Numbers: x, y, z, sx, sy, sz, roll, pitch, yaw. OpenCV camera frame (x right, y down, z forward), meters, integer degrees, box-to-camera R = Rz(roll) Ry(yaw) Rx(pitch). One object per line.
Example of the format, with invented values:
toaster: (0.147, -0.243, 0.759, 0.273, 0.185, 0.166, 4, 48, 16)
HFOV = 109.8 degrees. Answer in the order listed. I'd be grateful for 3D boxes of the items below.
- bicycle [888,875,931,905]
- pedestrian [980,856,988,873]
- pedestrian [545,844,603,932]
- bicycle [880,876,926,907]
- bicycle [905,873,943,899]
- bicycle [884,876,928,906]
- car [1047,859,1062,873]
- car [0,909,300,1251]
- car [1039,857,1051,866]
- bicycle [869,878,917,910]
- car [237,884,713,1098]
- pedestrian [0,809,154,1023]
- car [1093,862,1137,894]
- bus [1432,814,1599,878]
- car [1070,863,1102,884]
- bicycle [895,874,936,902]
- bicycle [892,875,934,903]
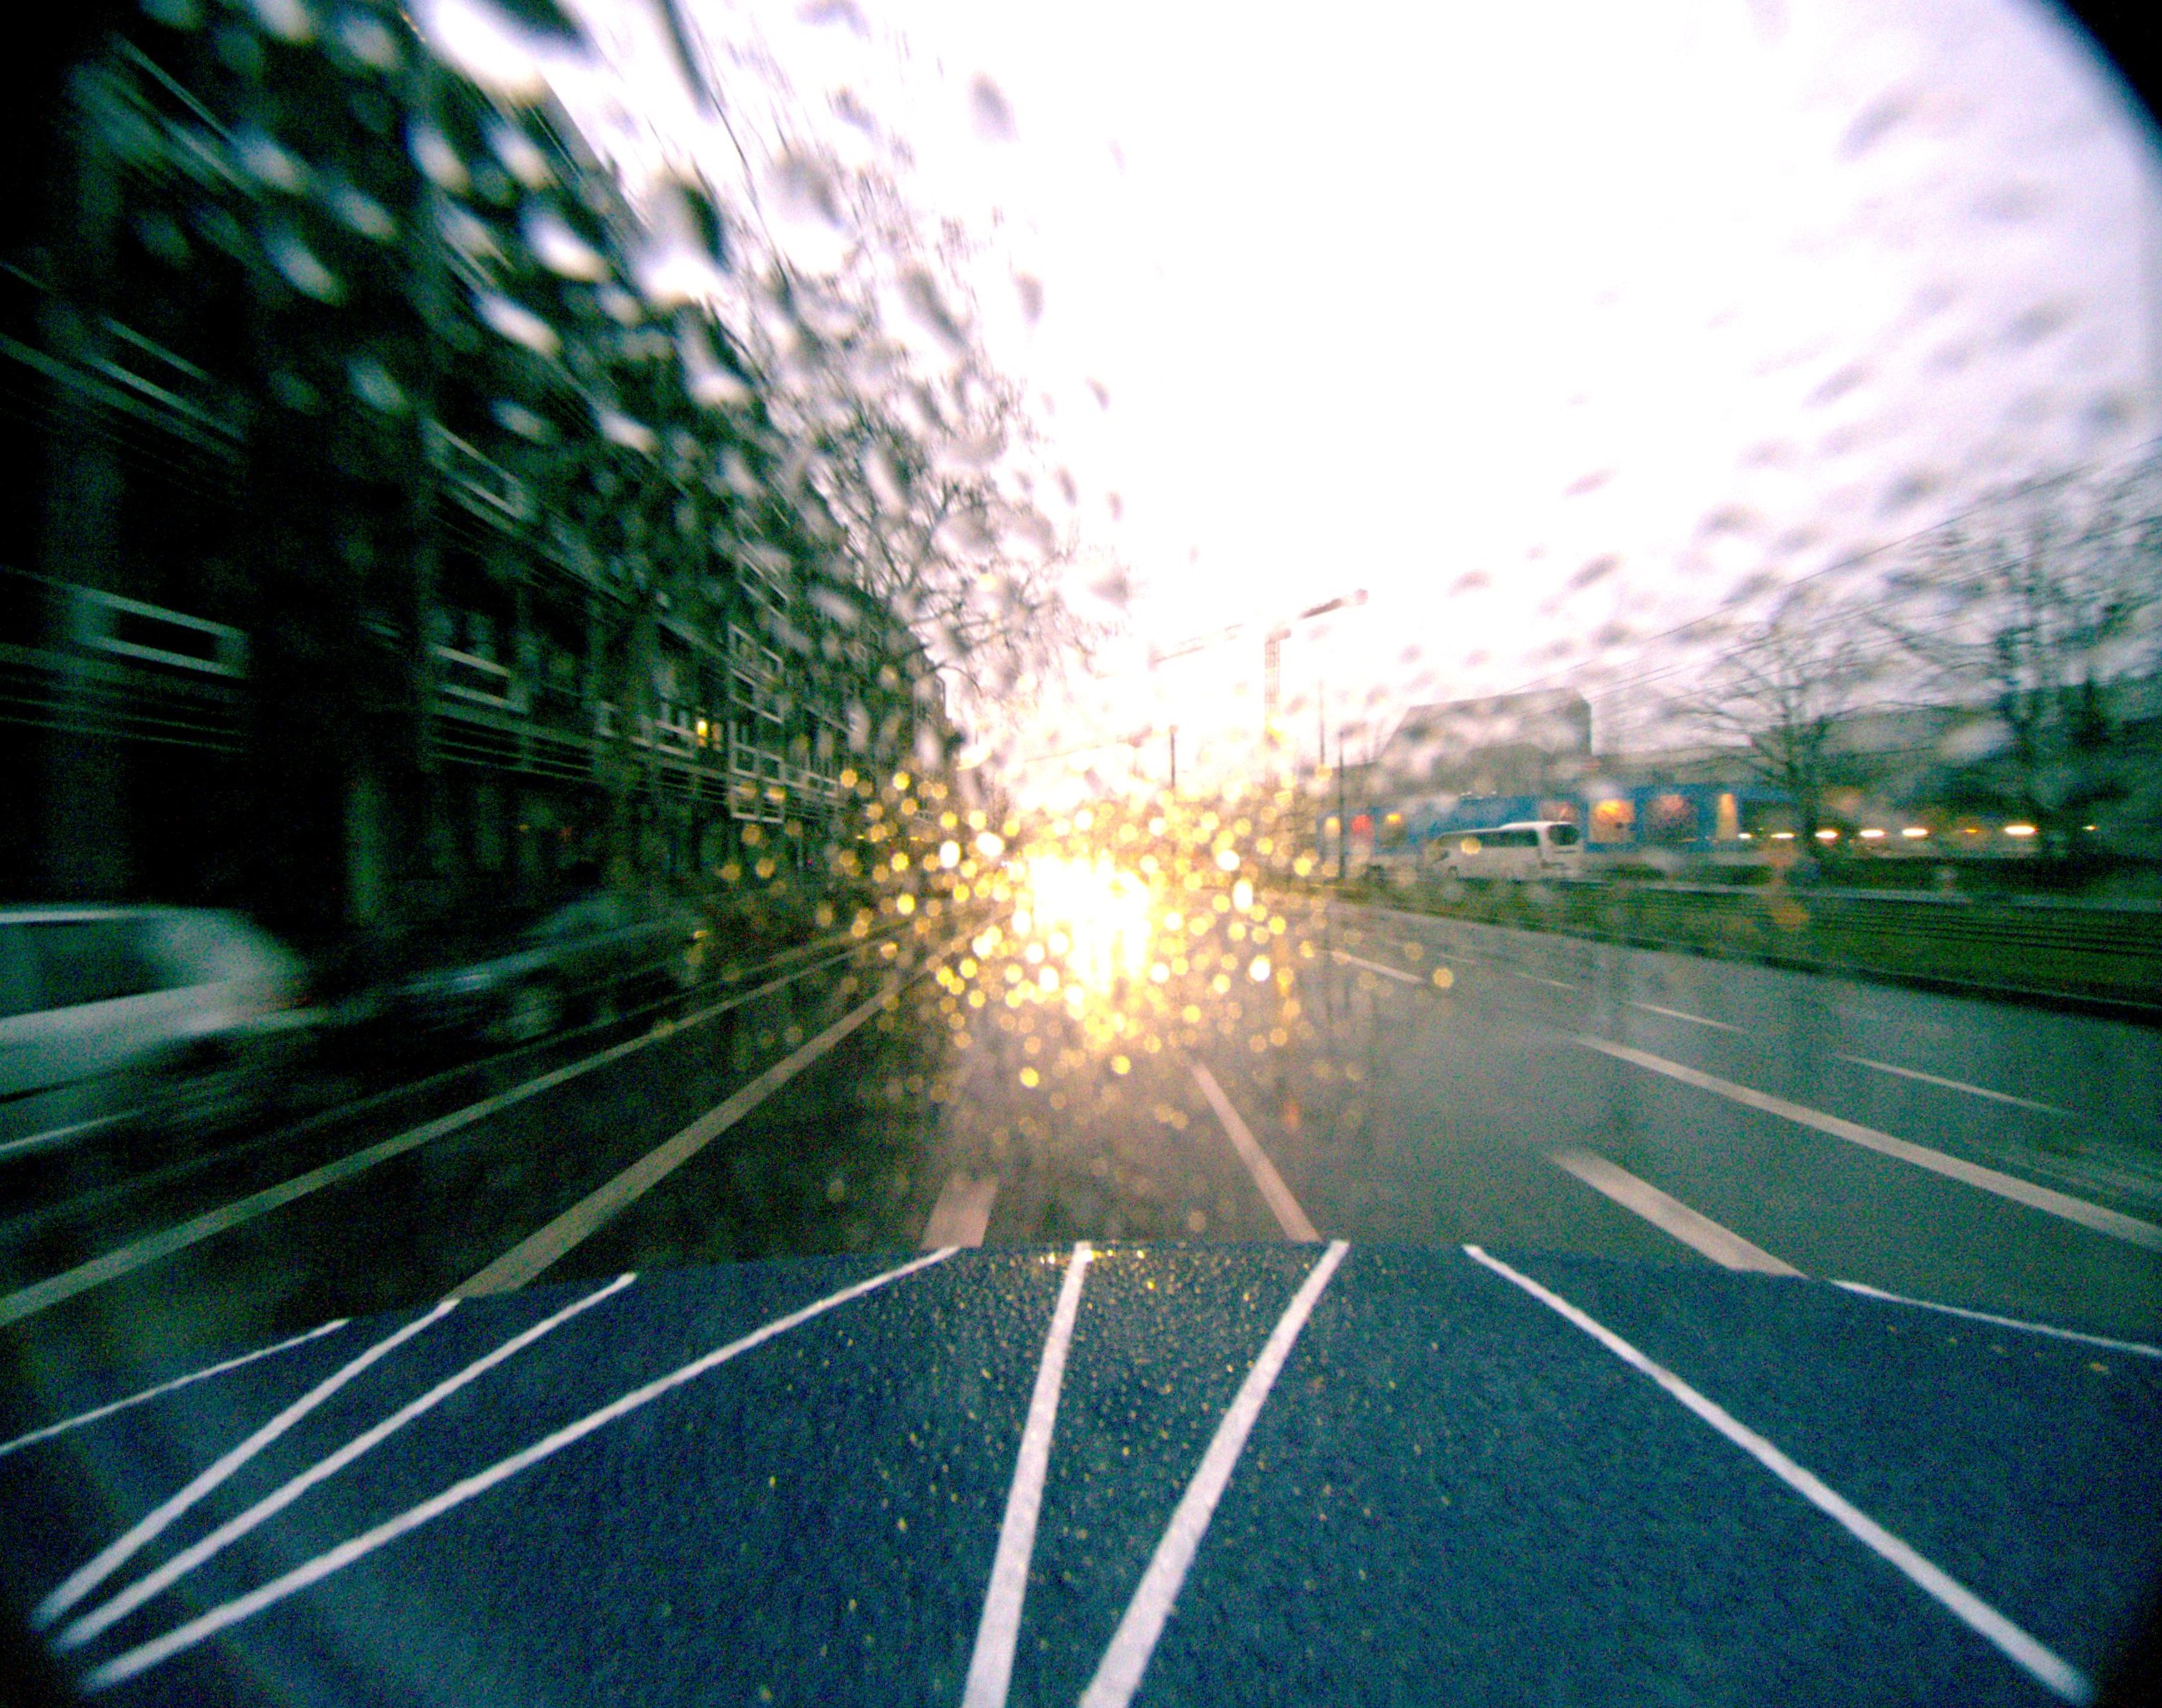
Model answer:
bicycle: (-6.548, 1.370, 29.011, 1.523, 1.030, 0.469, -2, 1, -6)
pedestrian: (-11.538, 1.204, 90.254, 0.838, 2.002, 0.771, -2, 1, 0)
pedestrian: (-11.785, 0.778, 17.671, 0.822, 2.002, 0.735, -1, 0, -1)
bicycle: (-6.500, 1.361, 27.767, 1.523, 1.030, 0.469, -2, 1, -6)
bicycle: (-6.621, 1.338, 32.090, 1.523, 1.030, 0.469, -2, 1, -6)
bicycle: (-6.541, 1.376, 28.426, 1.523, 1.030, 0.469, -2, 1, -6)
car: (-3.755, 1.779, 109.318, 1.858, 2.001, 4.001, -1, -1, 2)
car: (-5.802, 1.098, 2.829, 1.608, 1.424, 3.930, 2, 0, 3)
car: (-6.414, 1.333, 136.153, 1.858, 1.591, 4.001, -1, -1, 2)
bicycle: (-6.464, 1.377, 26.209, 1.523, 1.030, 0.469, -2, 1, -6)
car: (-5.796, 1.167, 8.053, 1.764, 1.539, 4.019, -1, 0, 1)
pedestrian: (-10.327, 0.586, 7.604, 0.791, 2.002, 1.024, -1, 0, 1)
car: (1.636, 1.164, 37.666, 1.778, 1.466, 4.129, -1, -1, -3)
bus: (27.221, -0.435, 48.785, 2.815, 3.556, 12.300, -1, 0, -5)
car: (0.330, 1.435, 57.306, 1.856, 1.466, 4.126, 0, 0, -8)
bicycle: (-6.624, 1.356, 30.454, 1.523, 1.030, 0.469, -2, 1, -6)
bicycle: (-6.575, 1.363, 29.733, 1.523, 1.030, 0.469, -2, 1, -6)
